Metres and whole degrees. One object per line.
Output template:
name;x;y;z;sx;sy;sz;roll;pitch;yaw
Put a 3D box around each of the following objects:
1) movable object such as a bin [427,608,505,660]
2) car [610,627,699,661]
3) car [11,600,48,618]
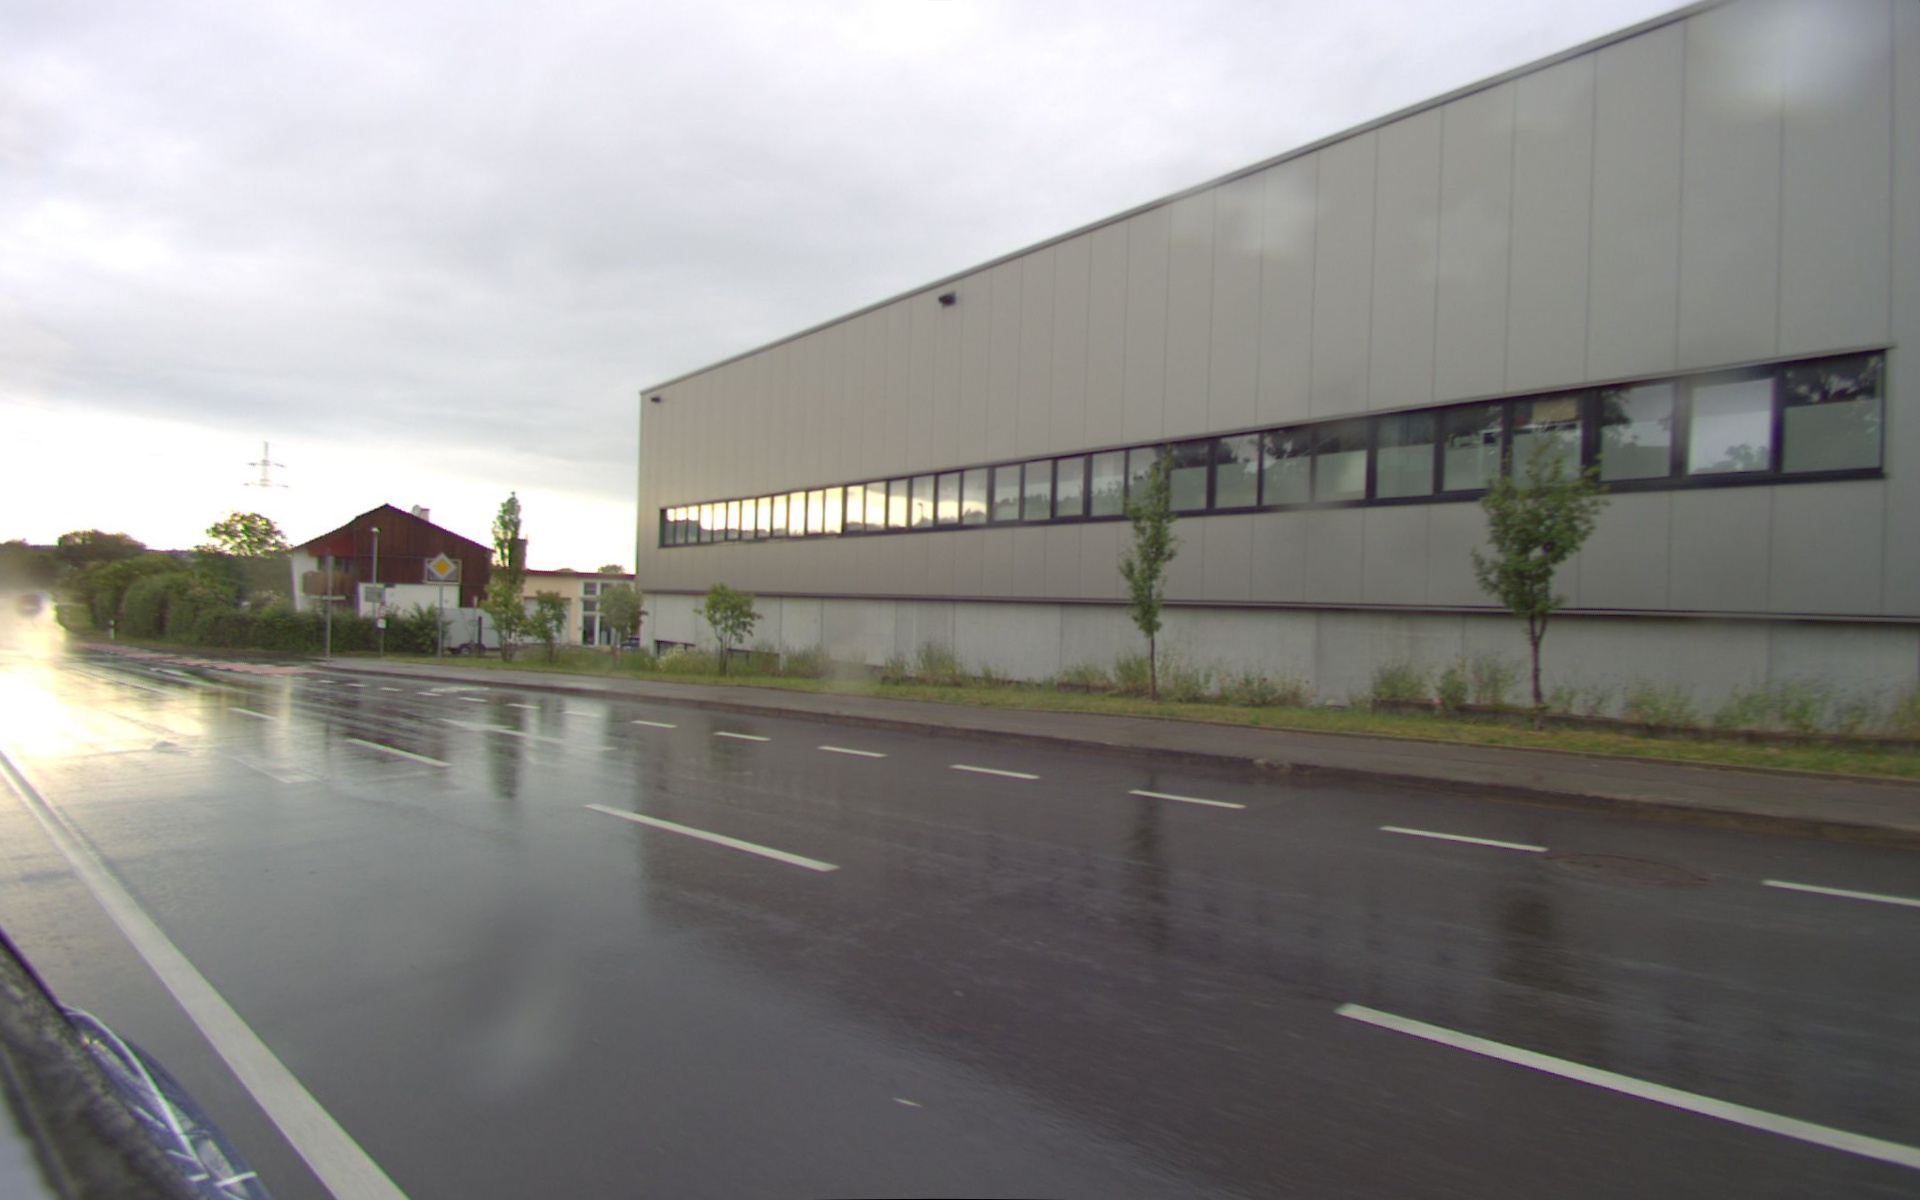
movable object such as a bin;-26.684;1.852;54.682;3.287;2.576;1.741;5;-5;-41
car;-16.253;2.382;54.066;1.950;1.622;4.402;1;-4;29
car;-104.936;1.032;114.099;6.877;1.829;2.328;0;-4;43
